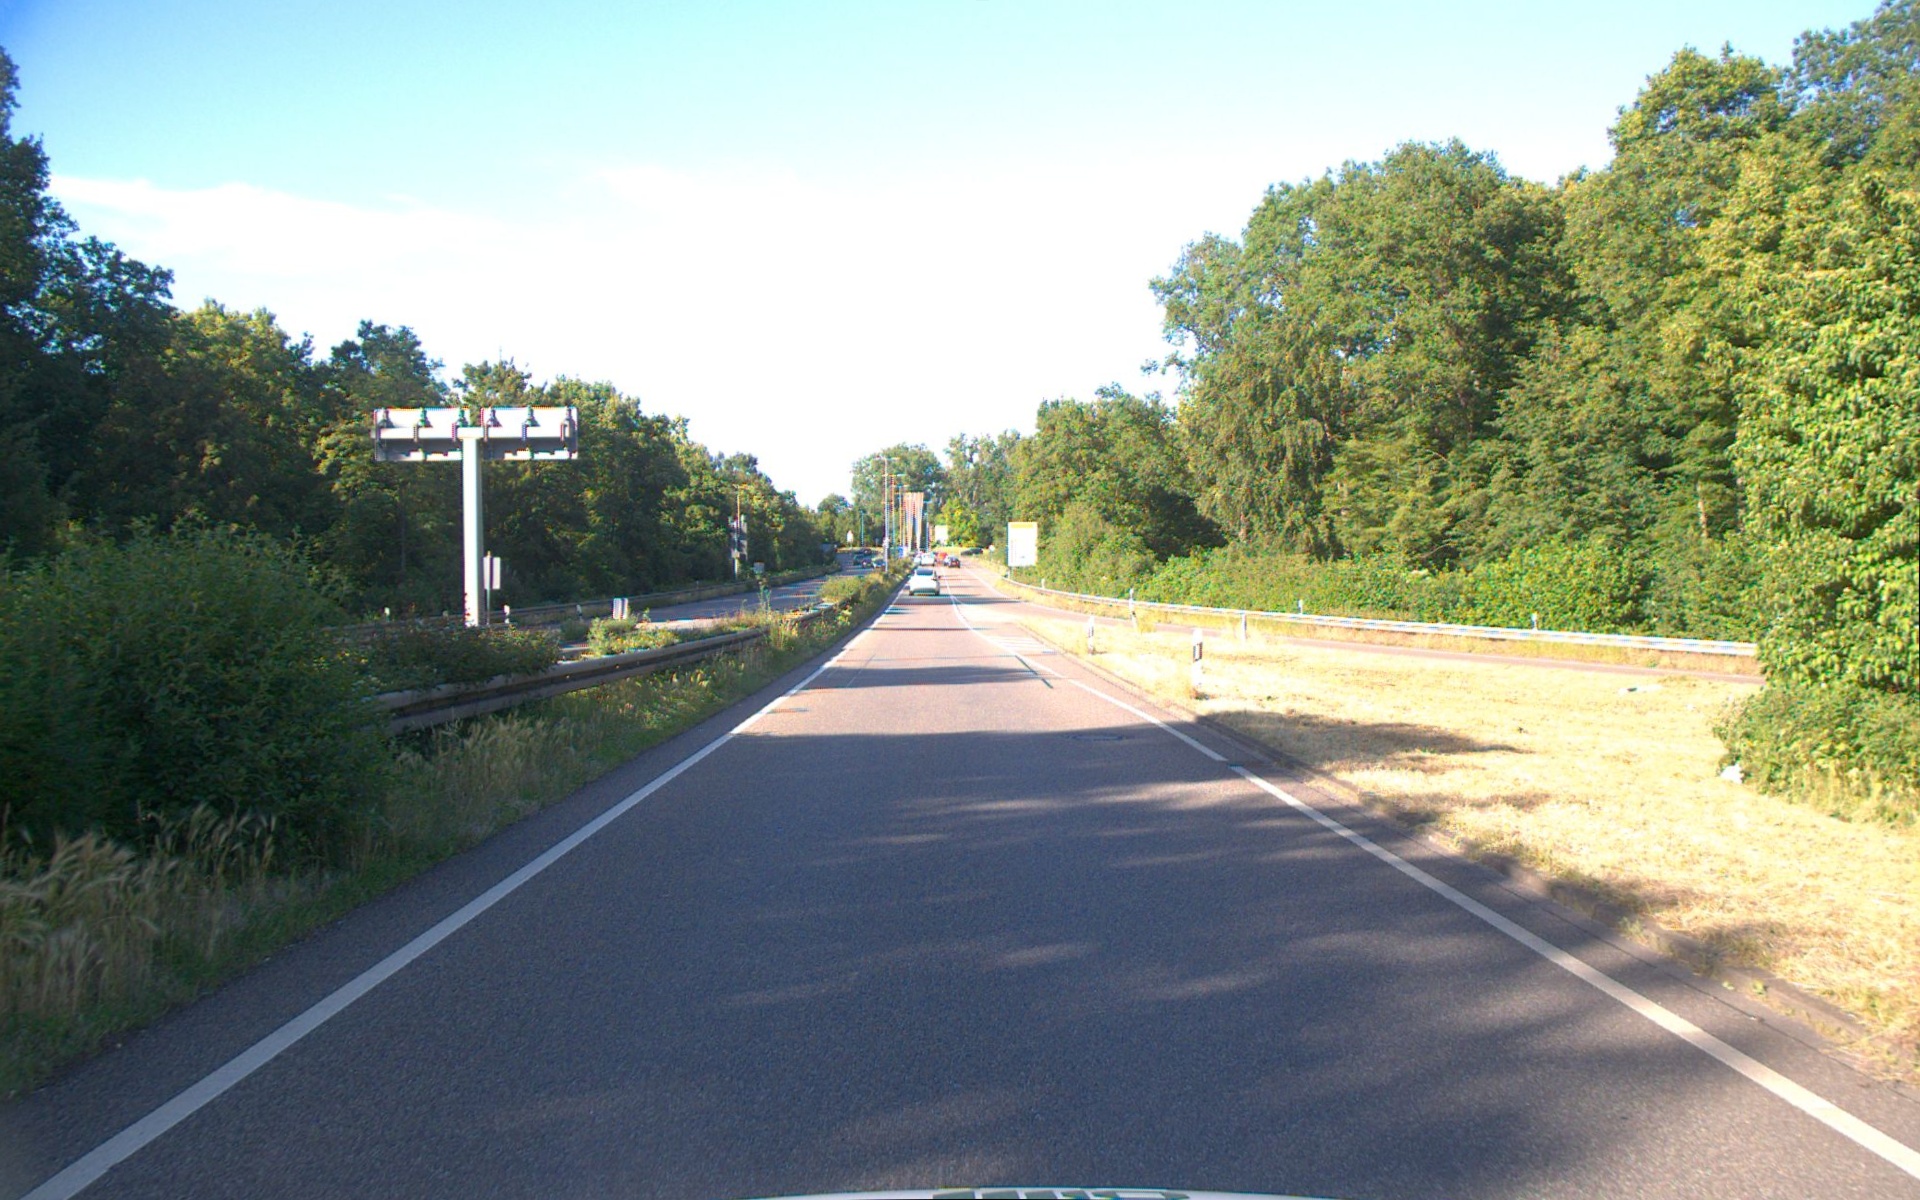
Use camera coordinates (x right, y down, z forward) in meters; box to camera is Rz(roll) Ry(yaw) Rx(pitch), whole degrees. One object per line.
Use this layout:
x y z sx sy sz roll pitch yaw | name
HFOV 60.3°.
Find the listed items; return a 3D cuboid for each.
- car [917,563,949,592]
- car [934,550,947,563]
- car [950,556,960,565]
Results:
-1.750 -1.452 104.394 1.953 1.668 4.128 -1 3 -2 | car
-3.012 -6.725 254.437 1.953 1.912 4.249 -1 3 -1 | car
-0.766 -5.660 236.634 1.360 1.302 2.987 2 1 -1 | car
